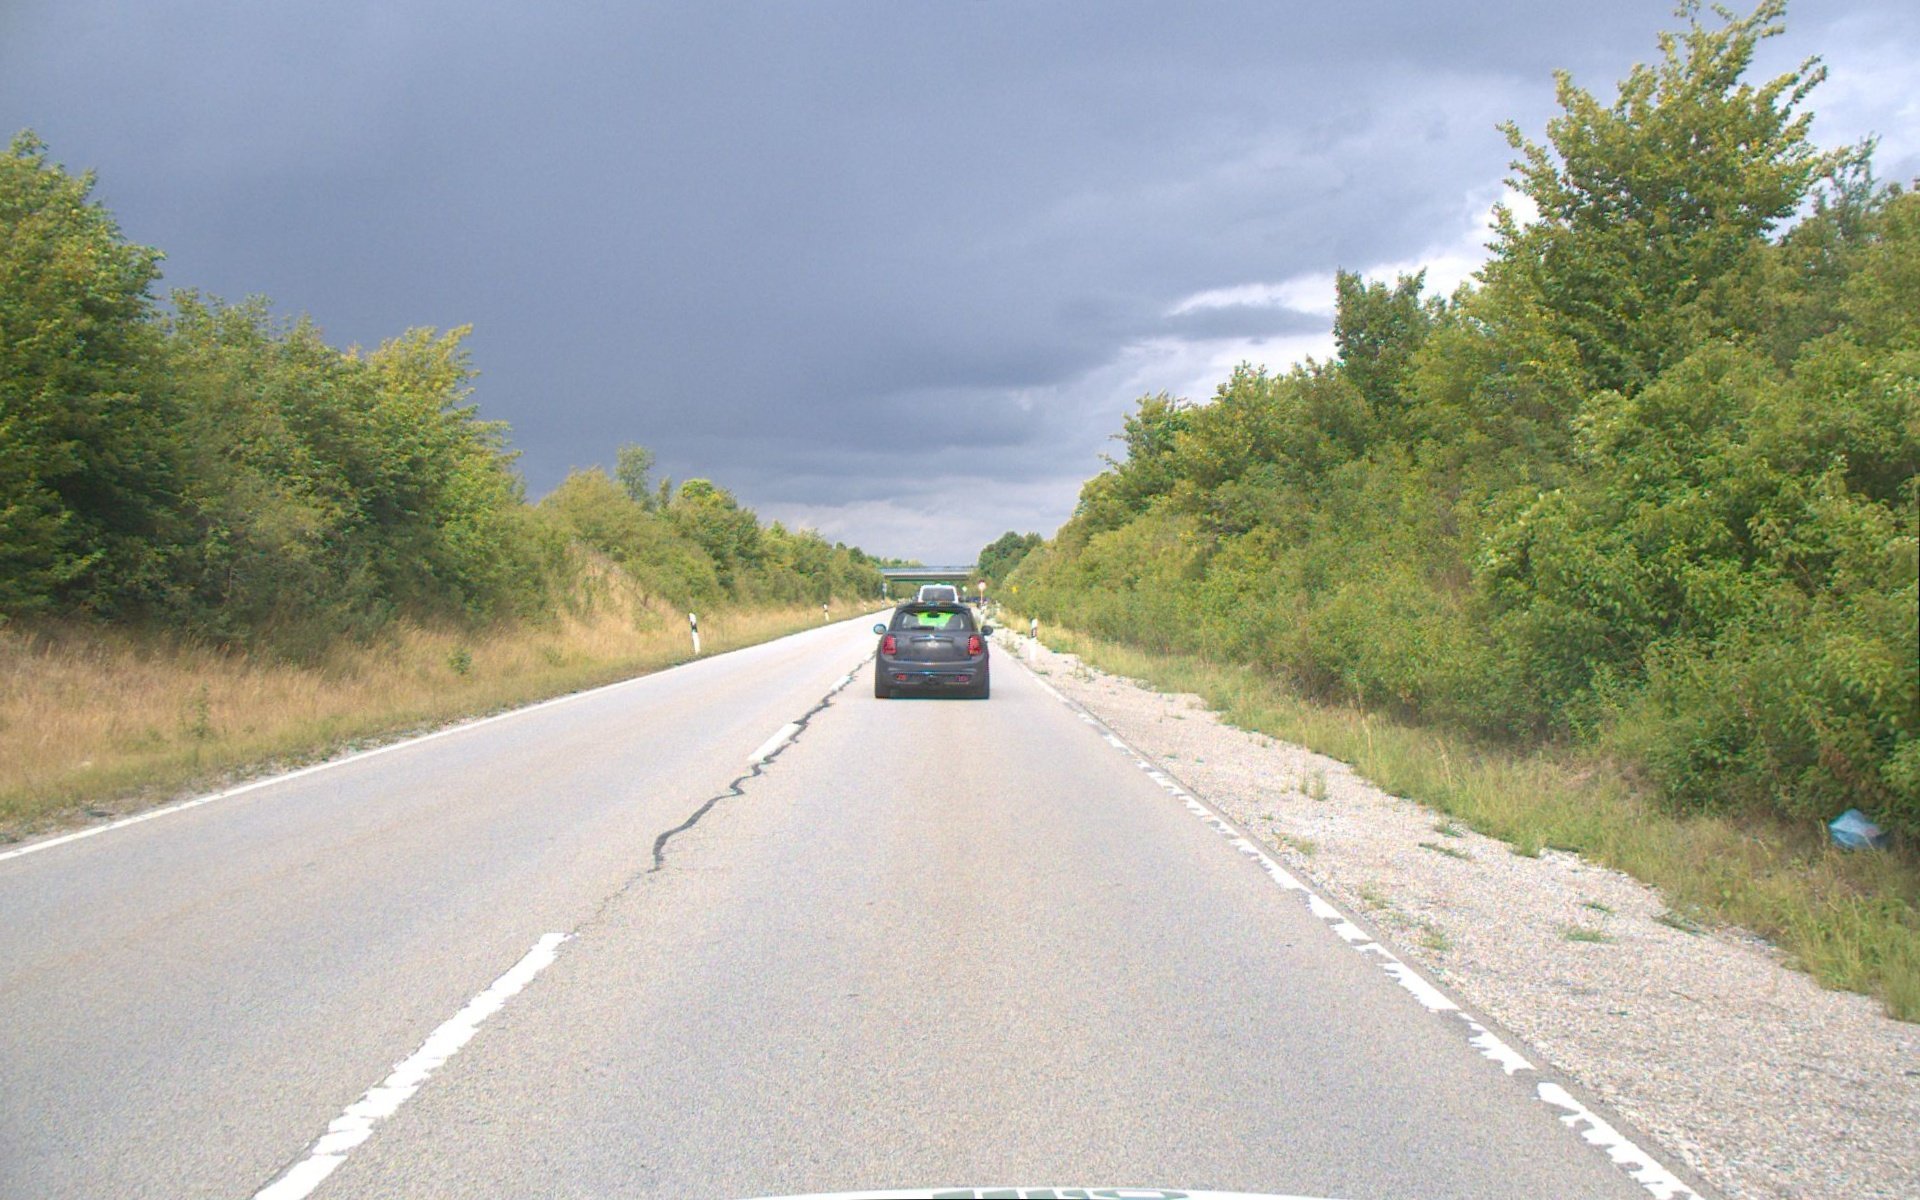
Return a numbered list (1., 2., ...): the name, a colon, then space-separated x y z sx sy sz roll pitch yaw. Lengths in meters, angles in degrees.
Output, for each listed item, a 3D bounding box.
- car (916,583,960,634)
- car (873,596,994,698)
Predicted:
1. car: -0.950 0.352 70.737 1.782 2.090 3.999 1 0 -1
2. car: -0.413 0.677 25.785 1.721 1.452 3.999 1 0 -1
